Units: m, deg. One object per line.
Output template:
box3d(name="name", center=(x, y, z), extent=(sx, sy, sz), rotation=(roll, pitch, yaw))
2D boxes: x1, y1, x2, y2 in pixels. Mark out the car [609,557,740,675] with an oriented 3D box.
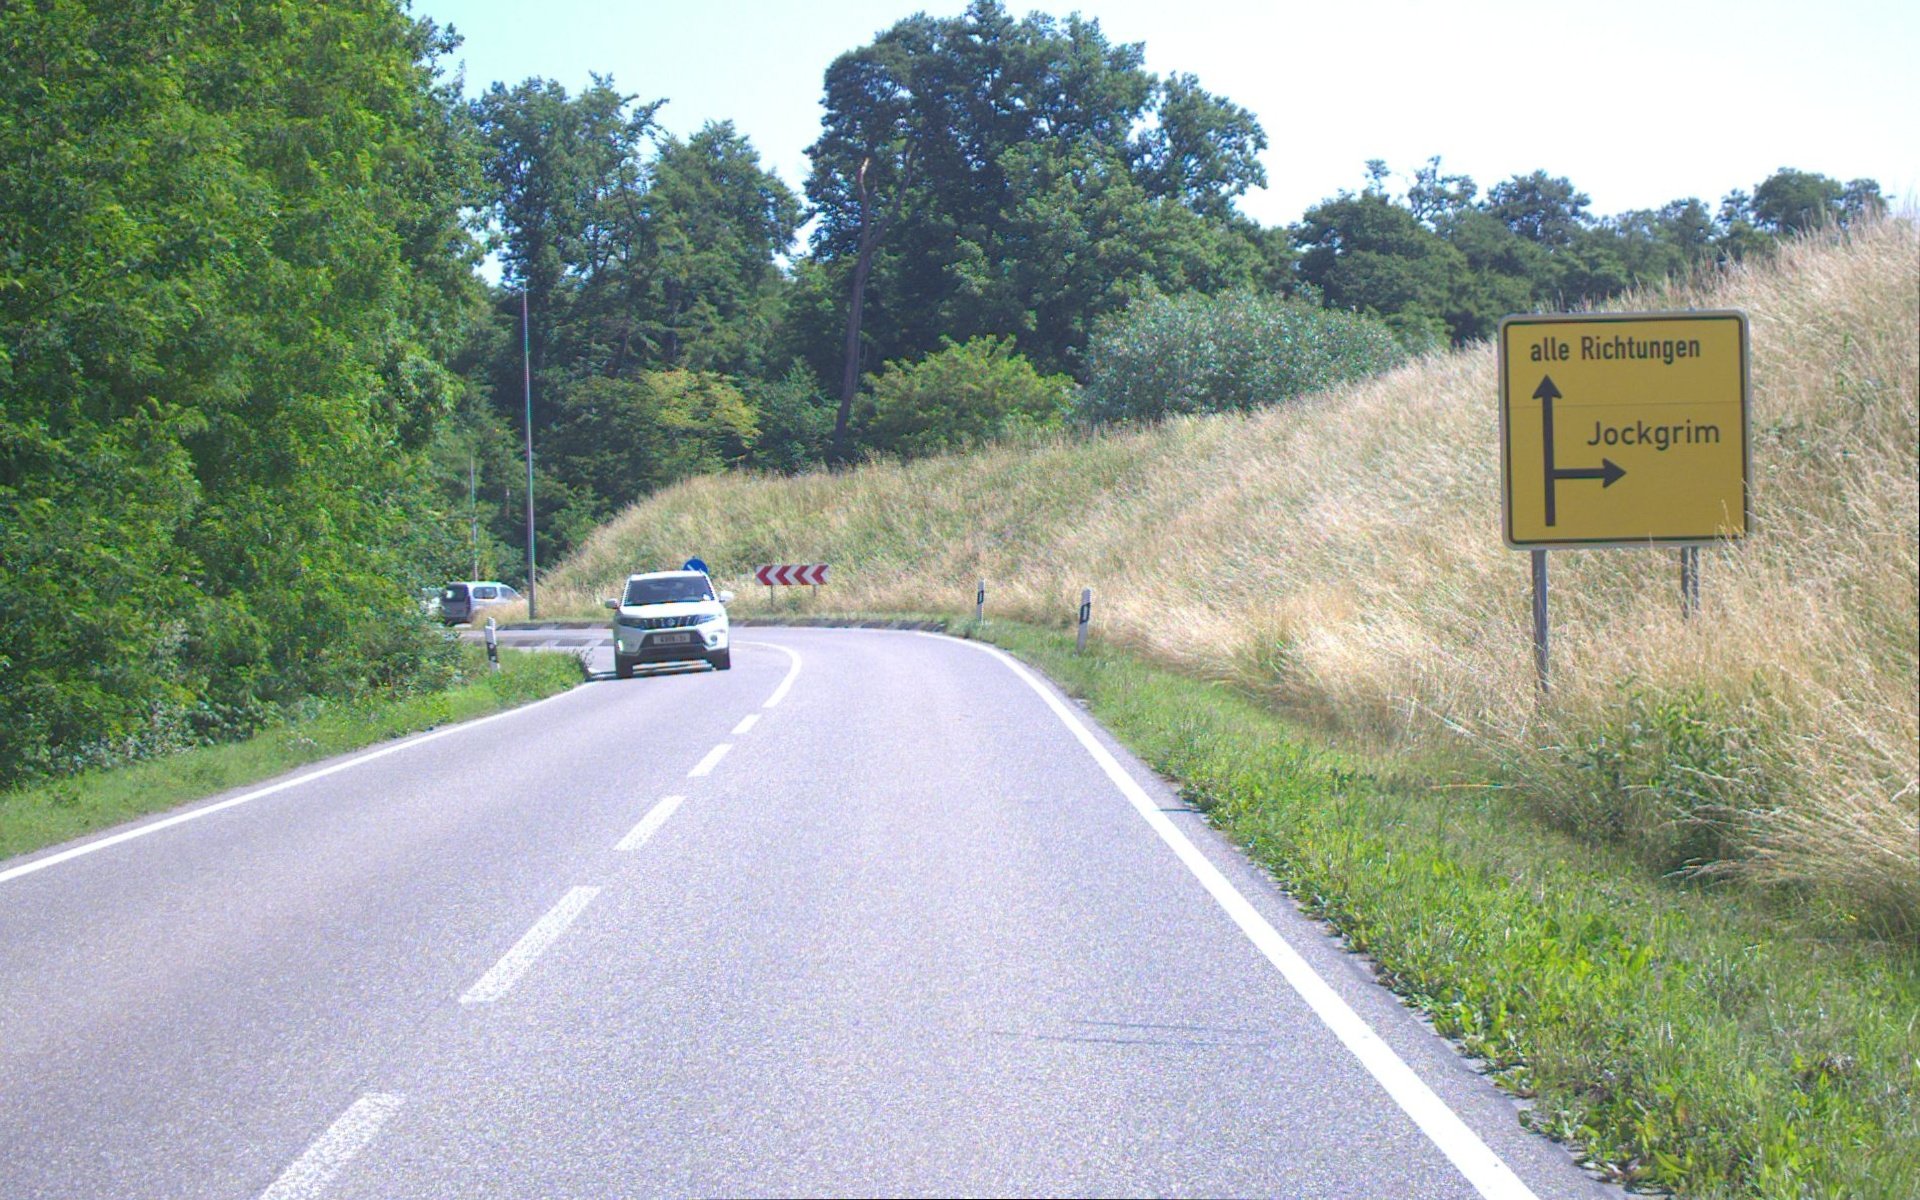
box3d(name="car", center=(-4.450, 0.219, 54.065), extent=(1.809, 1.671, 4.001), rotation=(-4, 1, -3))
